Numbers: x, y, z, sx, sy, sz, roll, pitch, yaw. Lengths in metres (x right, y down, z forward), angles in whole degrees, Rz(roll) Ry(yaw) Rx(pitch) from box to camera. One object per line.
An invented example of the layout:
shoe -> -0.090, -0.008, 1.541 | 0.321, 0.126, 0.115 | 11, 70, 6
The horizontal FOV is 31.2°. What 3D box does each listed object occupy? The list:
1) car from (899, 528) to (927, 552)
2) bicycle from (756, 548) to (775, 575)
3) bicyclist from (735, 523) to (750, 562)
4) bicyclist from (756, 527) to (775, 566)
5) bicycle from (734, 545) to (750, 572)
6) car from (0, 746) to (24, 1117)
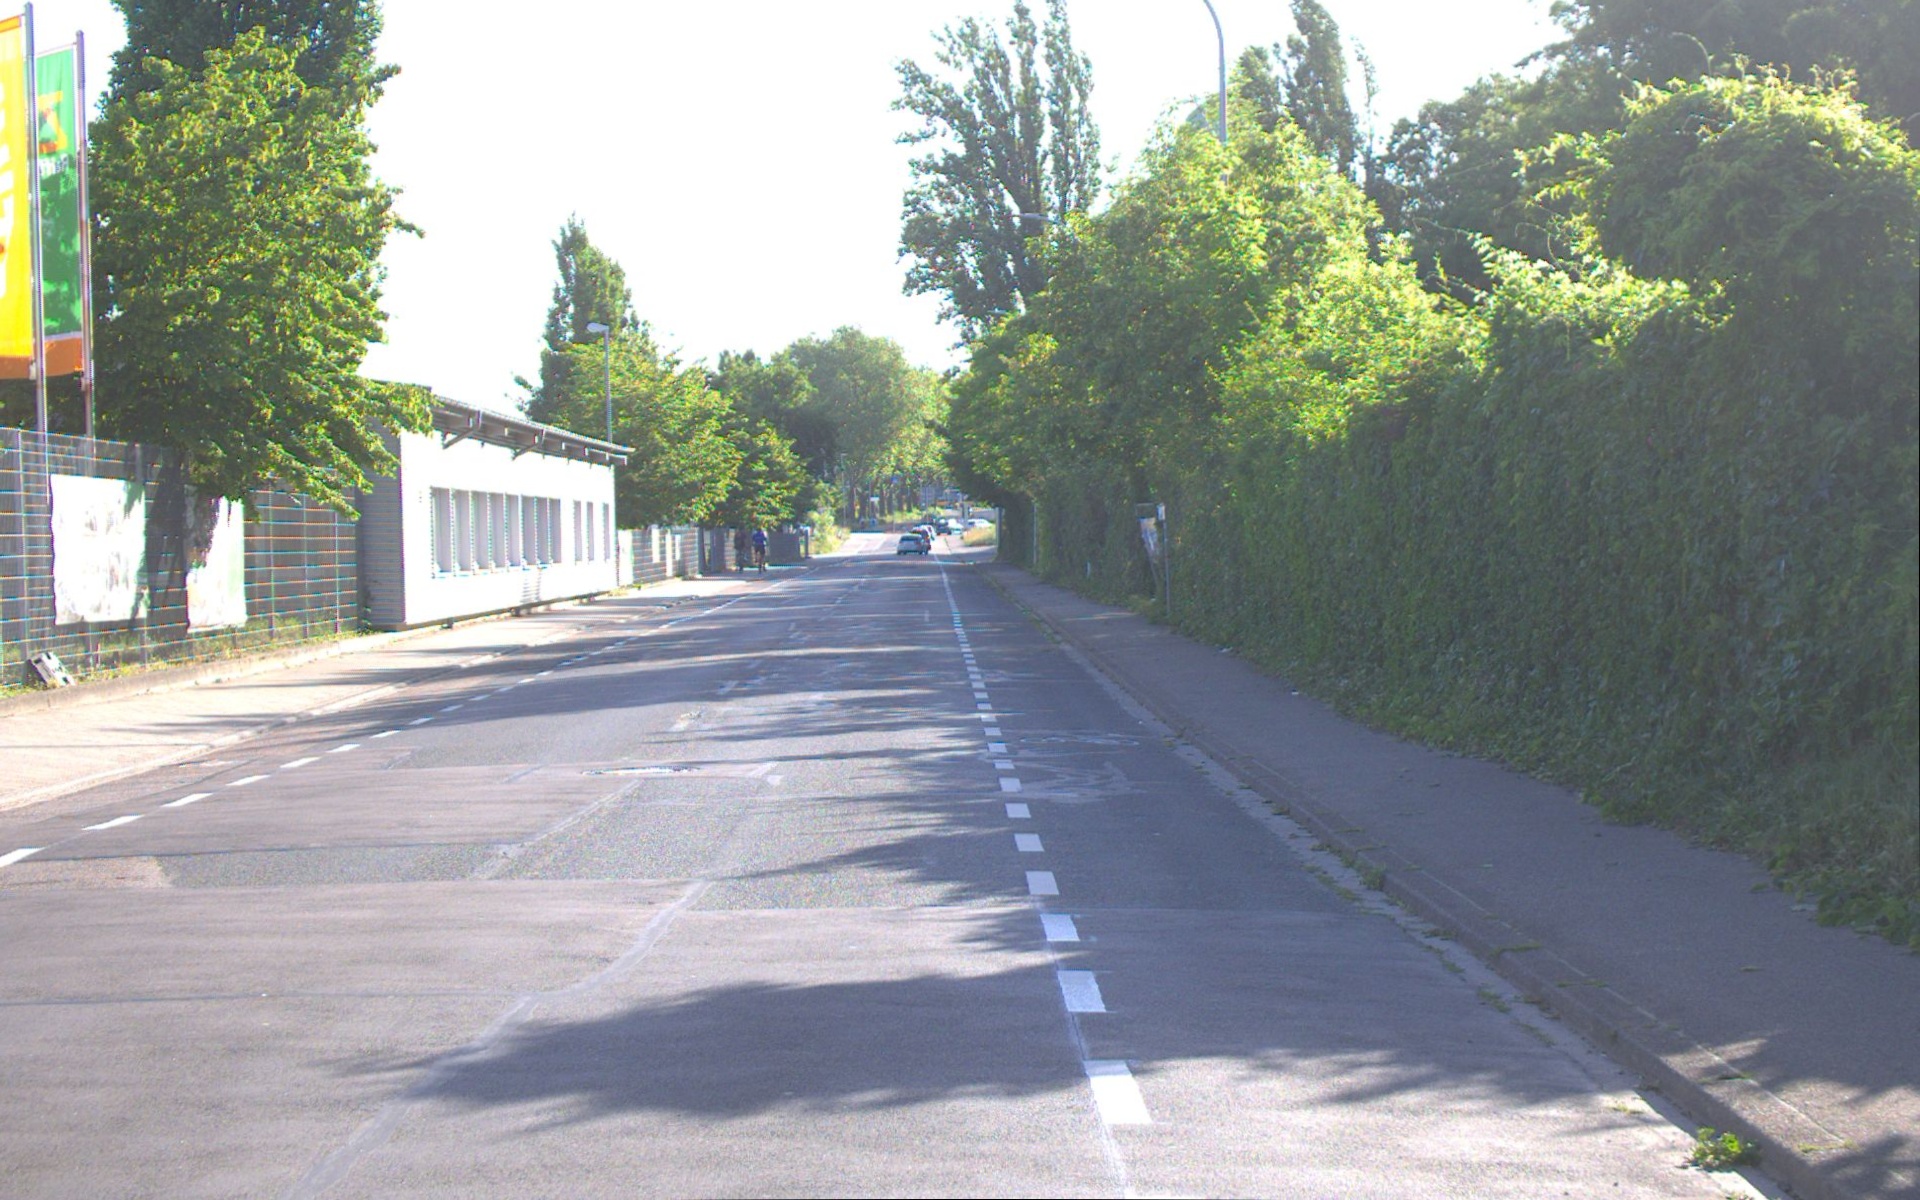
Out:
car -> -3.277, -4.211, 241.843 | 1.942, 1.645, 4.310 | 0, 1, 0
bicycle -> -7.611, -1.519, 134.658 | 0.689, 1.030, 1.351 | 0, 1, 0
bicyclist -> -8.525, -2.244, 134.720 | 0.560, 1.528, 0.689 | 0, 1, 0
bicyclist -> -7.609, -2.097, 134.618 | 0.689, 1.526, 0.722 | 0, 1, 0
bicycle -> -8.533, -1.640, 134.809 | 0.563, 1.030, 1.351 | 0, 1, 0
car -> -3.524, 0.031, 5.960 | 2.123, 2.771, 5.927 | -4, 1, -1
